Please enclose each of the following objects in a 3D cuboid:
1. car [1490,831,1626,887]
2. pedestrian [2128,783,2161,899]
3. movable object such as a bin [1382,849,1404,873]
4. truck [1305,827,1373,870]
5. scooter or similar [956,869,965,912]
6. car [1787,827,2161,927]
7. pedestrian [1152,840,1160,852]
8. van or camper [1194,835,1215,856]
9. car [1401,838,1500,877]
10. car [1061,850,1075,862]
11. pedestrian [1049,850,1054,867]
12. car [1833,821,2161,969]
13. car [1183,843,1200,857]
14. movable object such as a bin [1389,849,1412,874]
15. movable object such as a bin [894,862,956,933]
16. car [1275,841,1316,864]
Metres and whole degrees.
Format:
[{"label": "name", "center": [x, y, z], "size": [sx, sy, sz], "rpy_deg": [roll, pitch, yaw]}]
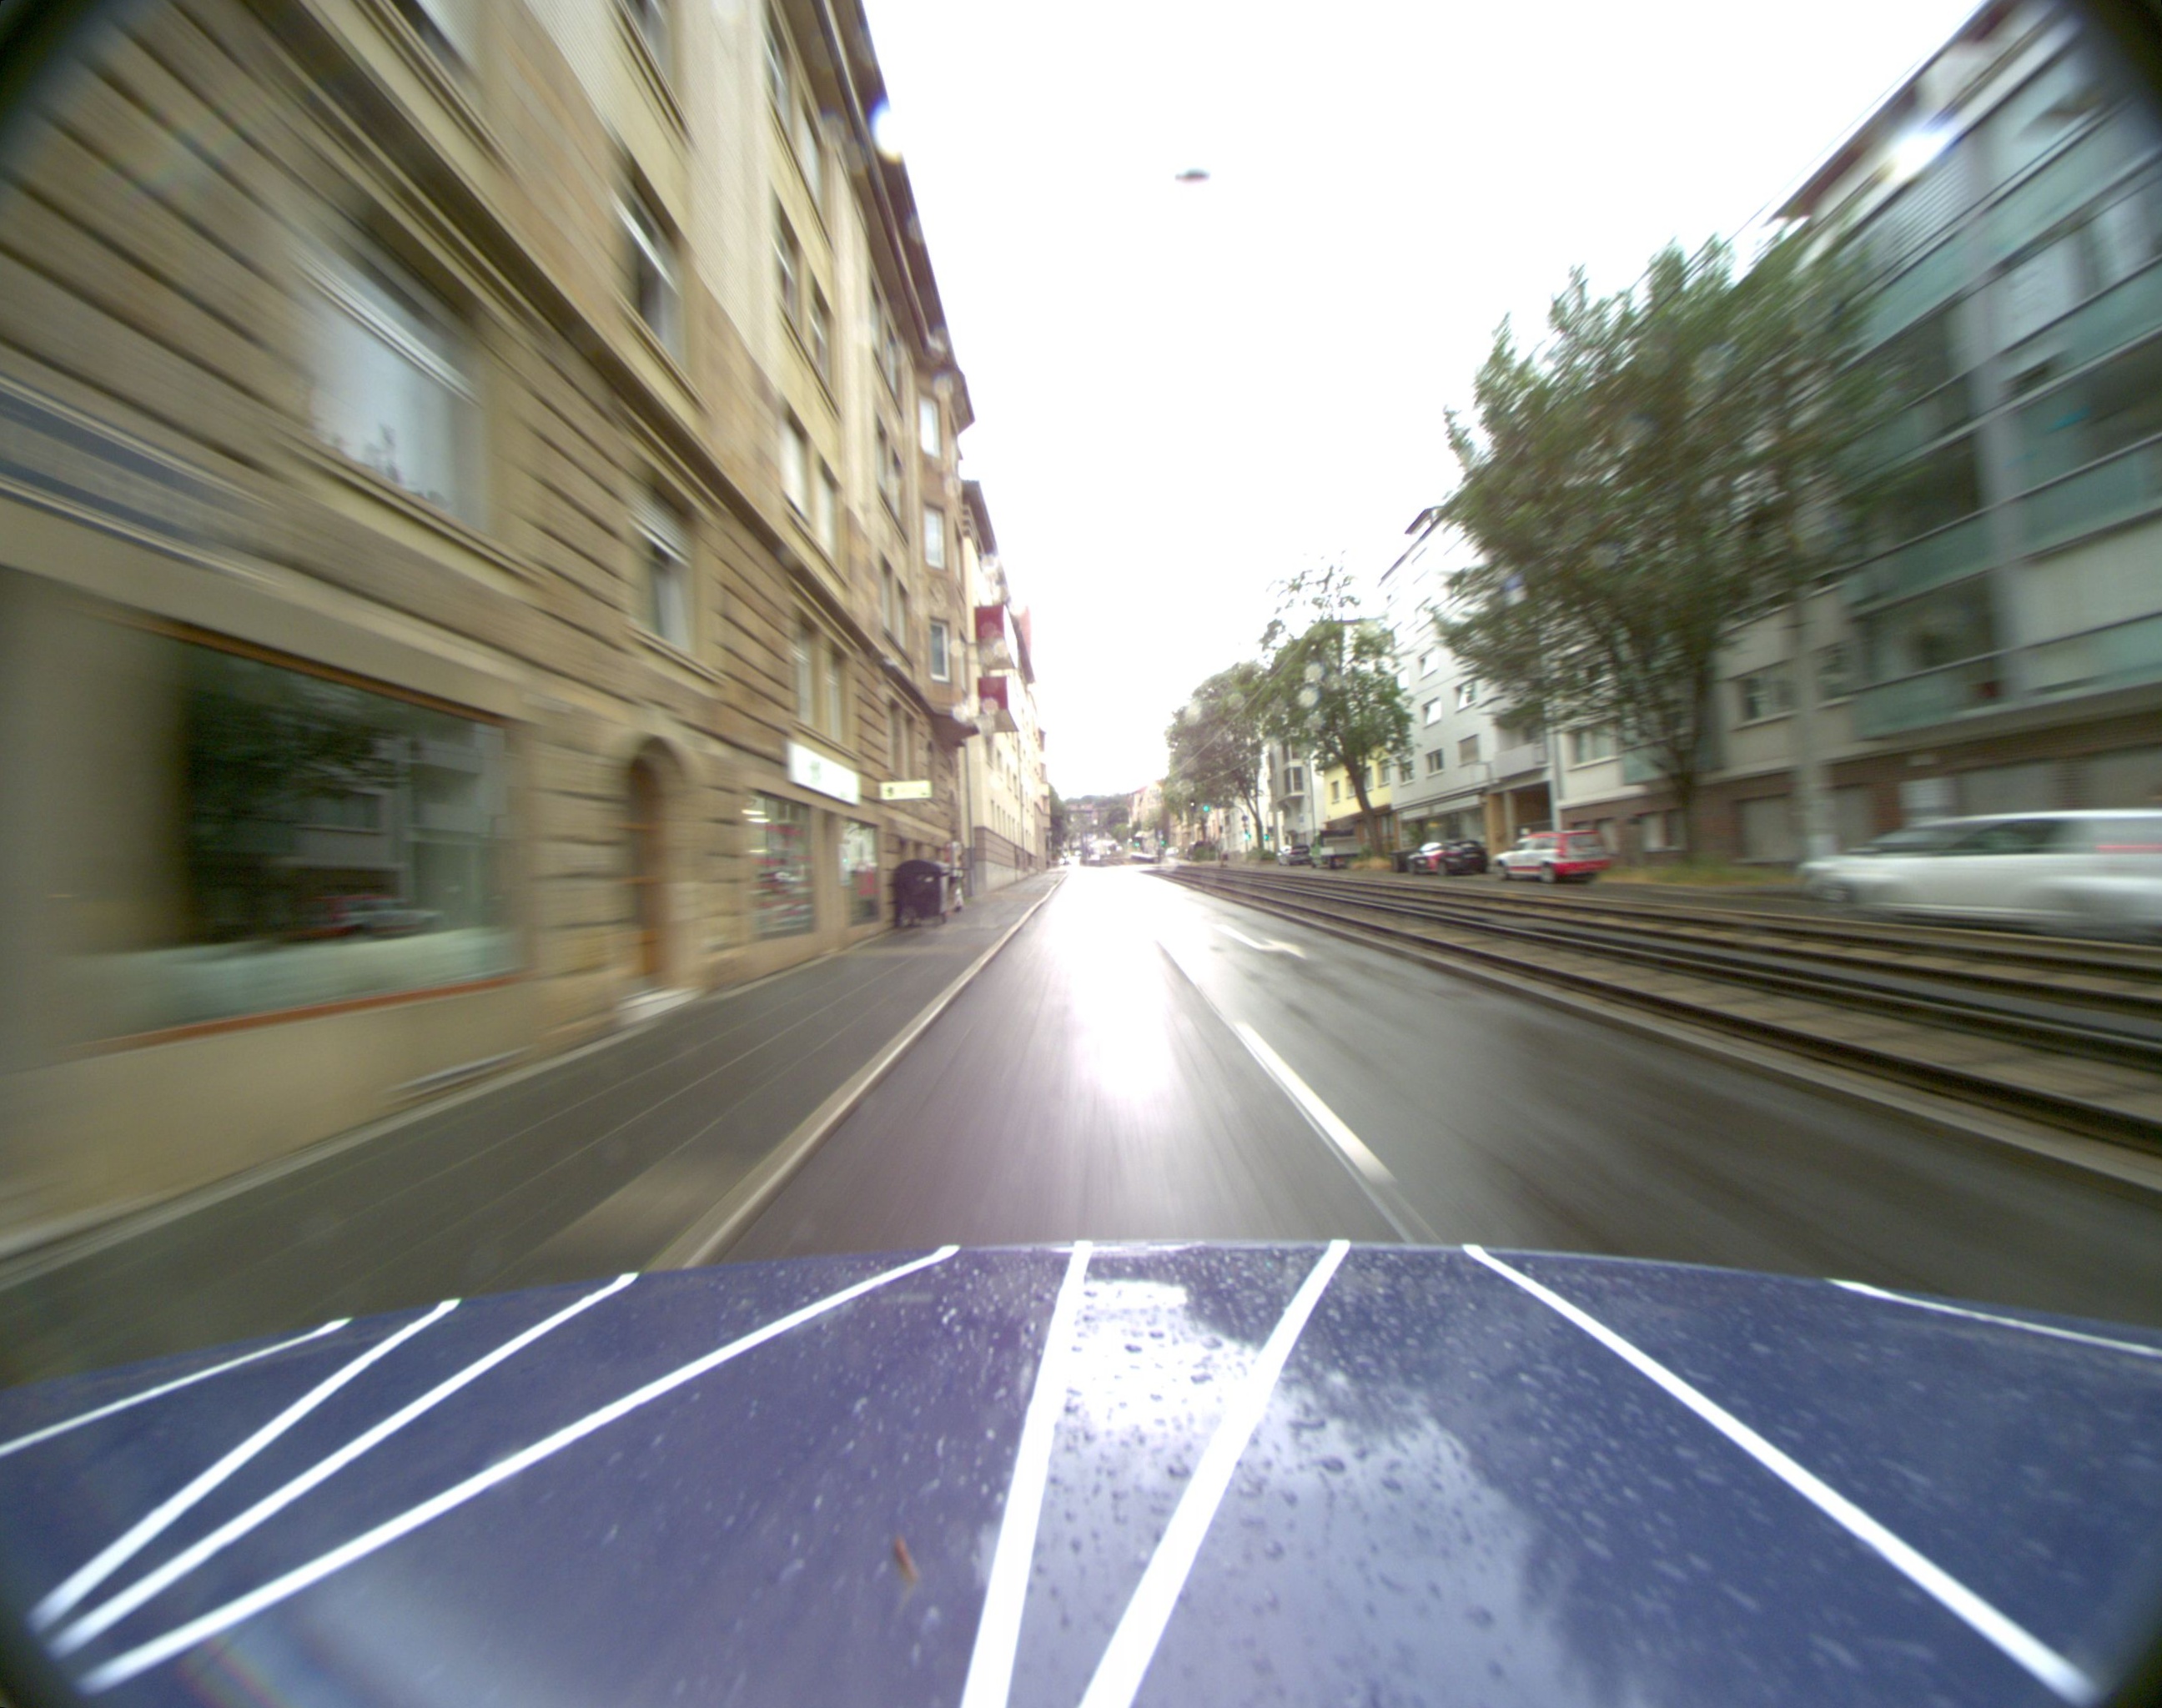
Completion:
[{"label": "car", "center": [15.215, 0.135, 24.541], "size": [1.780, 1.560, 4.158], "rpy_deg": [-2, 0, 1]}, {"label": "pedestrian", "center": [16.754, -0.210, 11.506], "size": [0.675, 1.762, 0.782], "rpy_deg": [-3, 1, 1]}, {"label": "movable object such as a bin", "center": [14.783, 0.342, 36.007], "size": [0.727, 1.115, 0.671], "rpy_deg": [-2, 1, -5]}, {"label": "truck", "center": [15.449, -0.396, 45.930], "size": [2.197, 2.332, 6.351], "rpy_deg": [-2, 2, 3]}, {"label": "scooter or similar", "center": [-3.327, 1.002, 21.012], "size": [0.210, 1.105, 0.890], "rpy_deg": [-1, 2, -9]}, {"label": "car", "center": [15.032, 0.319, 13.184], "size": [1.706, 1.328, 4.130], "rpy_deg": [-5, 0, 1]}, {"label": "pedestrian", "center": [10.767, -1.165, 109.077], "size": [1.120, 1.772, 0.965], "rpy_deg": [-2, 1, 1]}, {"label": "van or camper", "center": [16.904, -1.125, 104.412], "size": [1.998, 2.781, 5.213], "rpy_deg": [-3, 0, 1]}, {"label": "car", "center": [15.287, 0.127, 31.760], "size": [1.911, 1.432, 4.469], "rpy_deg": [-2, 0, 0]}, {"label": "car", "center": [-1.992, 0.291, 114.370], "size": [1.999, 1.652, 3.999], "rpy_deg": [-2, 0, 0]}, {"label": "pedestrian", "center": [-3.409, 0.501, 87.829], "size": [0.547, 1.904, 0.604], "rpy_deg": [-2, 1, -2]}, {"label": "car", "center": [11.756, 0.387, 9.260], "size": [1.631, 1.473, 3.580], "rpy_deg": [-2, 0, 0]}, {"label": "car", "center": [16.482, -0.618, 113.686], "size": [1.998, 2.002, 4.000], "rpy_deg": [-2, 0, 2]}, {"label": "movable object such as a bin", "center": [14.853, 0.349, 35.306], "size": [0.727, 1.115, 0.671], "rpy_deg": [-2, 1, -5]}, {"label": "movable object such as a bin", "center": [-3.336, 0.918, 16.417], "size": [1.011, 1.443, 1.393], "rpy_deg": [0, 1, 1]}, {"label": "car", "center": [15.741, -0.117, 55.920], "size": [1.709, 1.451, 4.360], "rpy_deg": [-4, 0, 1]}]
